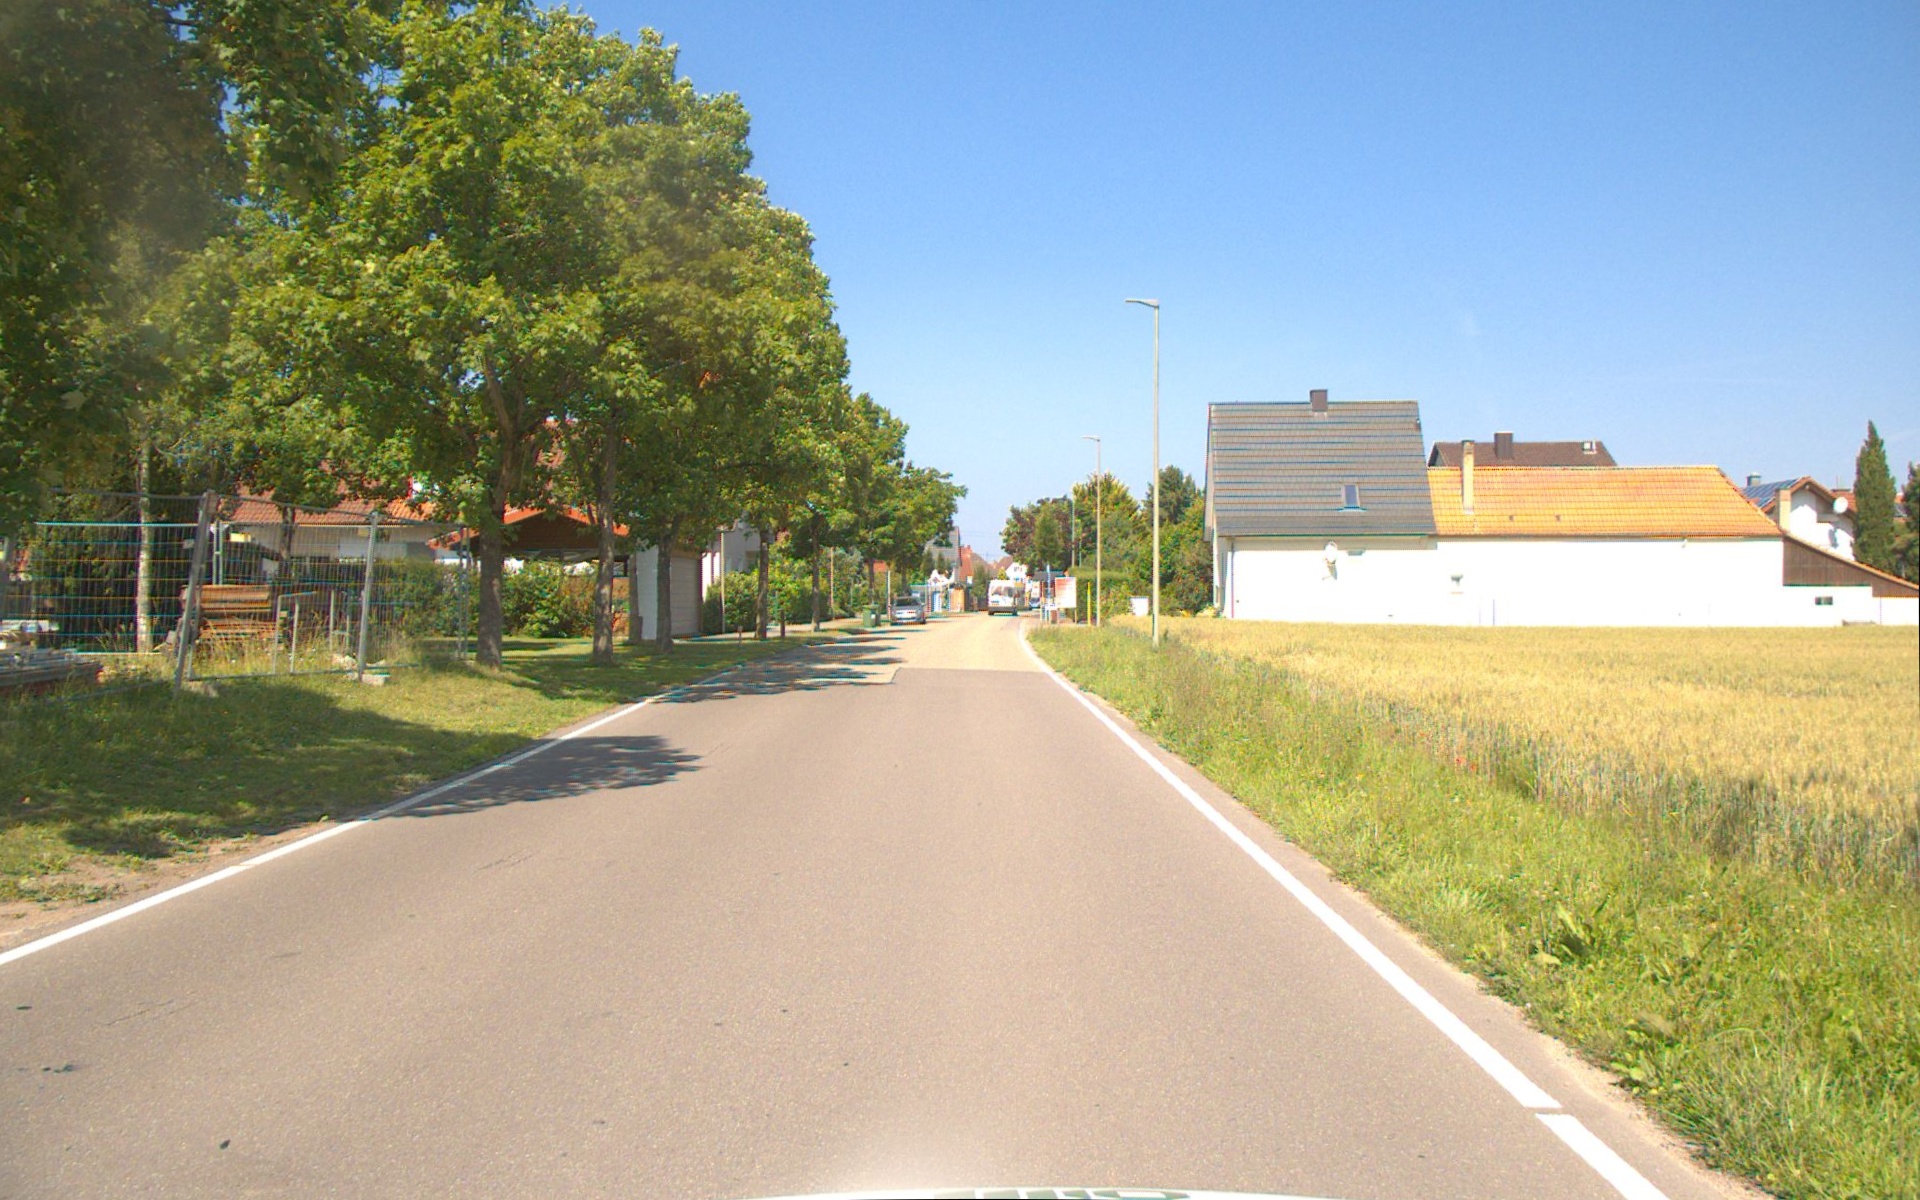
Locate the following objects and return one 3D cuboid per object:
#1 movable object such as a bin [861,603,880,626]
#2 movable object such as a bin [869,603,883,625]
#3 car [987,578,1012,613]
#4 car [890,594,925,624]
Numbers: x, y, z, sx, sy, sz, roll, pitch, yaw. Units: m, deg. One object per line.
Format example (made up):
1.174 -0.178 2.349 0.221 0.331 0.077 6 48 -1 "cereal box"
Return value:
-4.356 0.711 80.255 0.699 1.097 0.639 -1 0 27 "movable object such as a bin"
-4.114 0.684 81.029 0.562 1.097 0.599 -1 0 15 "movable object such as a bin"
2.868 -0.301 119.805 1.701 2.475 4.375 -1 0 2 "car"
-2.687 0.451 85.916 1.613 1.448 4.080 -3 0 0 "car"
